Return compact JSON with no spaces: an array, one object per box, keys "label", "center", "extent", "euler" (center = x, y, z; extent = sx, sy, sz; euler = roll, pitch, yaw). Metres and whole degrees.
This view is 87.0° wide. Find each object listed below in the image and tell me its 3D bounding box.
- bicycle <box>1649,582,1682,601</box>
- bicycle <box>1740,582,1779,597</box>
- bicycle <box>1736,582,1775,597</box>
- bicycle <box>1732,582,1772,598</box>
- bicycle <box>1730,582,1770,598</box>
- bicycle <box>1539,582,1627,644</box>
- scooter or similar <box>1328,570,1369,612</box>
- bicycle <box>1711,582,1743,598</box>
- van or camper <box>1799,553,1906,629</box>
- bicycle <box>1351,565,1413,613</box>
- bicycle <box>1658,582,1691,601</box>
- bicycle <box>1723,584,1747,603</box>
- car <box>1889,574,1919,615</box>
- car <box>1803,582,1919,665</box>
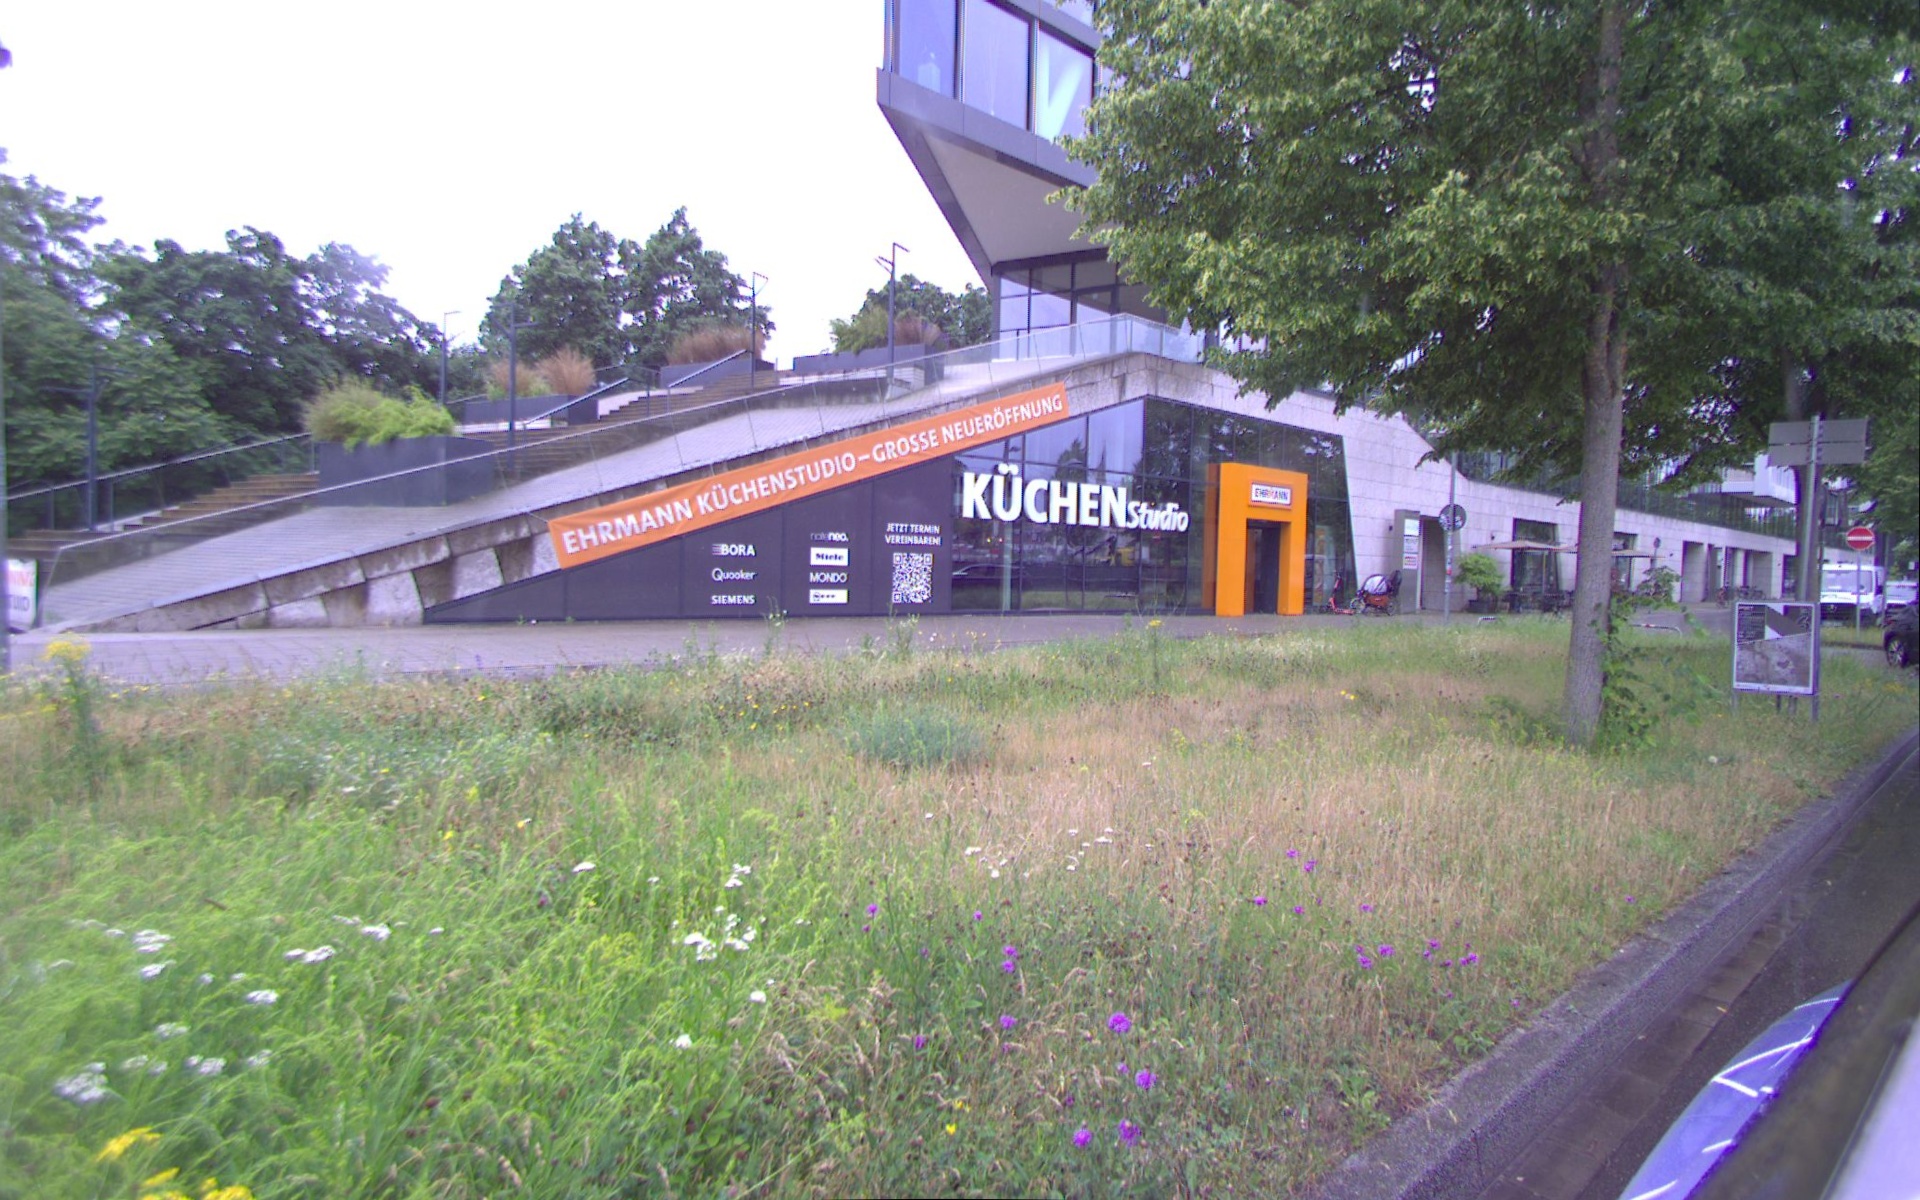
[{"label":"bicycle","center":[36.613,-0.435,52.525],"extent":[0.388,0.958,2.028],"euler":[-1,1,4]},{"label":"bicycle","center":[54.877,-0.720,69.458],"extent":[0.389,0.957,2.025],"euler":[-1,4,-45]},{"label":"bicycle","center":[53.949,-0.714,68.647],"extent":[0.389,0.957,2.025],"euler":[-1,4,-45]},{"label":"bicycle","center":[53.095,-0.689,67.869],"extent":[0.389,0.957,2.025],"euler":[-1,4,-45]},{"label":"bicycle","center":[52.609,-0.680,67.379],"extent":[0.389,0.957,2.025],"euler":[-1,4,-45]},{"label":"bicycle","center":[14.584,0.282,23.744],"extent":[0.521,1.363,1.852],"euler":[2,1,-16]},{"label":"scooter or similar","center":[11.740,-0.283,30.584],"extent":[1.214,1.243,0.343],"euler":[-1,0,-22]},{"label":"bicycle","center":[49.434,-0.656,65.279],"extent":[0.339,0.957,1.665],"euler":[0,3,-22]},{"label":"van or camper","center":[29.586,-0.353,33.489],"extent":[5.367,2.320,2.028],"euler":[-1,2,-42]},{"label":"bicycle","center":[13.221,-0.341,31.705],"extent":[2.382,1.419,0.734],"euler":[0,3,-41]},{"label":"bicycle","center":[37.226,-0.446,52.732],"extent":[0.388,0.958,2.028],"euler":[-1,1,4]},{"label":"bicycle","center":[40.576,-0.349,52.978],"extent":[1.823,0.957,0.403],"euler":[-1,2,-34]},{"label":"car","center":[43.536,-0.260,45.784],"extent":[4.766,1.781,1.744],"euler":[-1,2,-42]},{"label":"car","center":[18.313,0.431,18.929],"extent":[1.801,1.437,4.339],"euler":[1,2,7]}]
